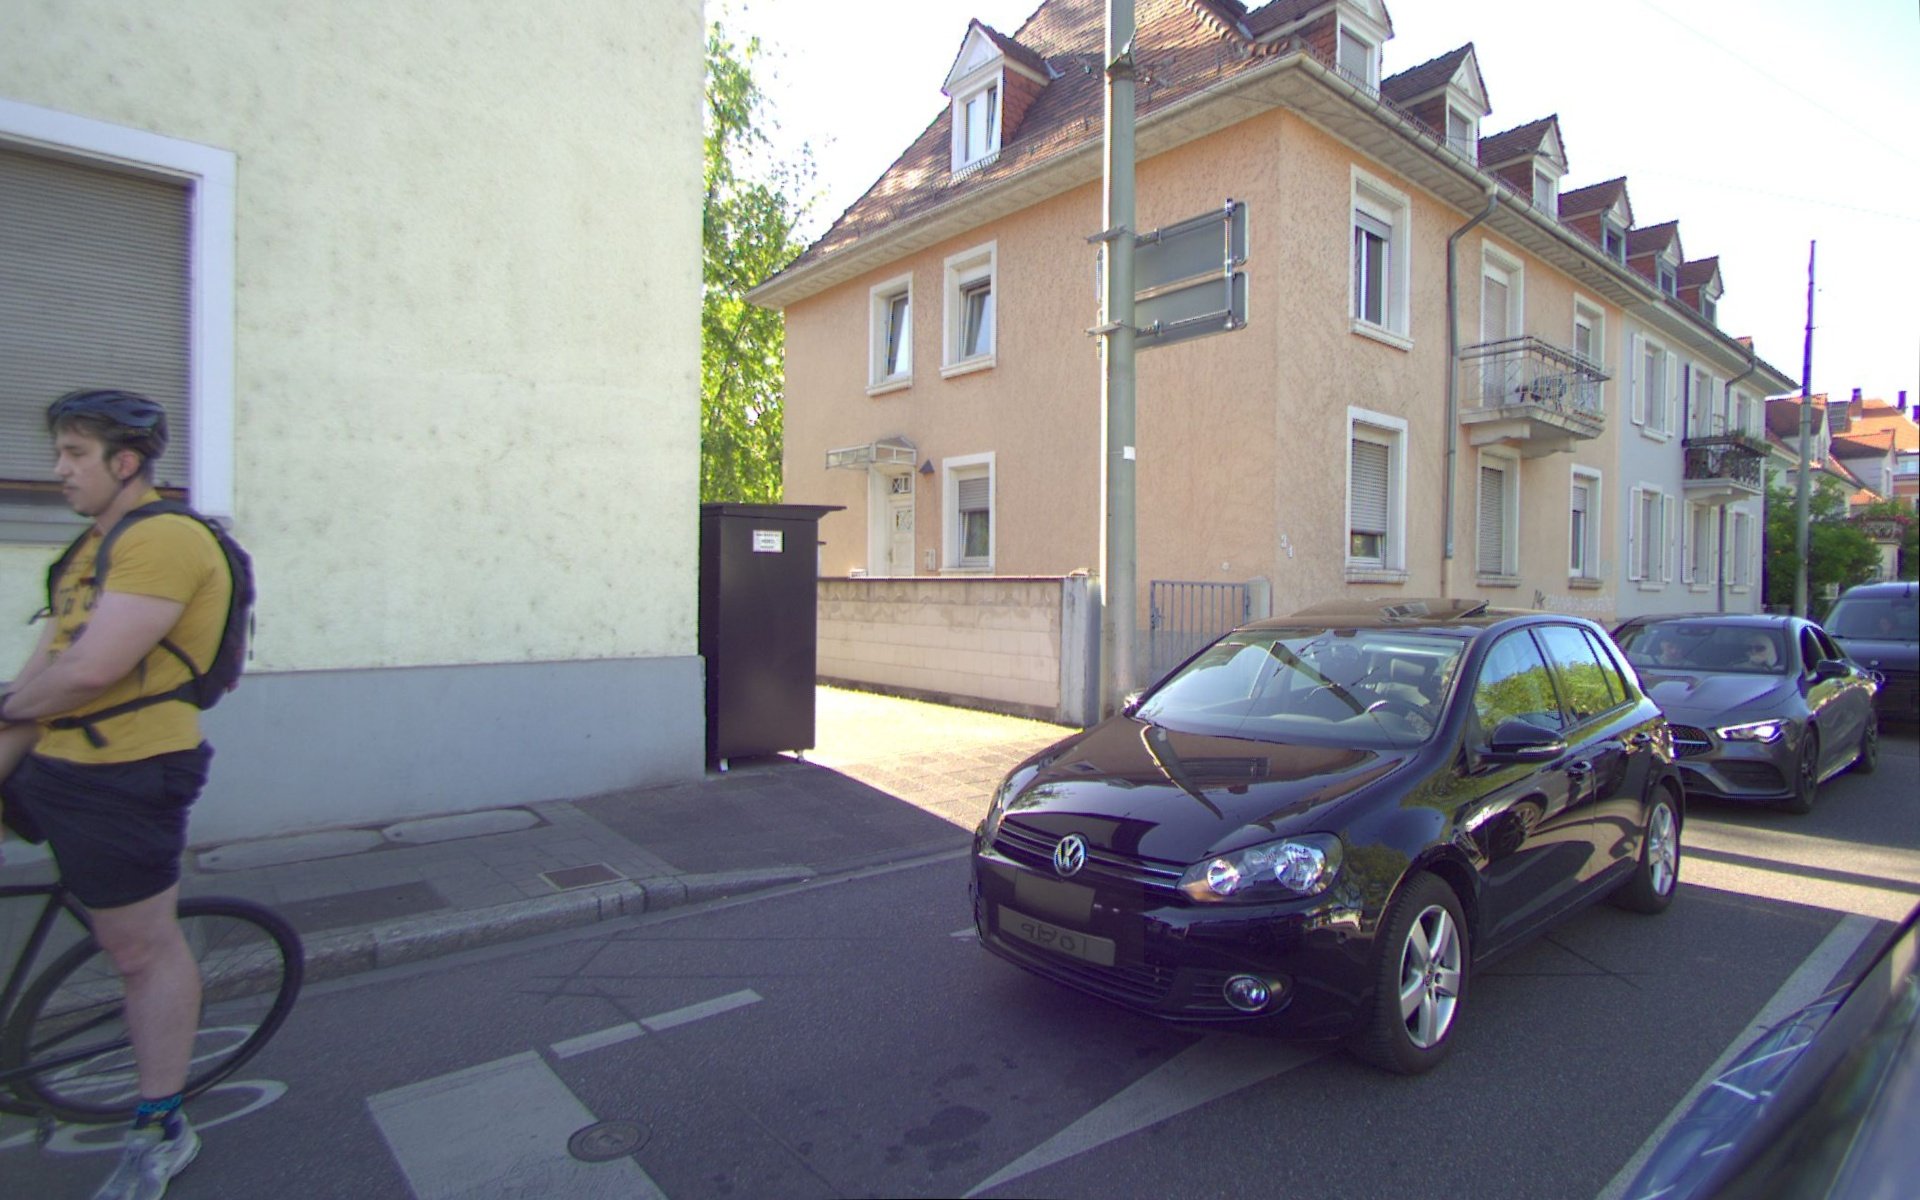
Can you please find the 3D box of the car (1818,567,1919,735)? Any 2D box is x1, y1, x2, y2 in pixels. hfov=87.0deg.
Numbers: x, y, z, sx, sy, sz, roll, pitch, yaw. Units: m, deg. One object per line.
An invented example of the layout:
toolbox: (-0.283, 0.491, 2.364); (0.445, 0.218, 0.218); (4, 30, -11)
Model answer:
car: (12.210, 0.528, 12.425); (4.695, 1.827, 1.864); (-1, 0, -41)

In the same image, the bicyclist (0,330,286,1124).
bicyclist: (-2.238, 0.266, 2.504); (0.868, 1.684, 0.807); (0, 0, -40)

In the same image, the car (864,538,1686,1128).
car: (1.701, 0.646, 4.600); (3.979, 1.527, 1.731); (2, -1, -41)

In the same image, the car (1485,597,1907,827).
car: (6.441, 0.714, 8.664); (4.413, 1.437, 1.911); (-1, 0, -40)

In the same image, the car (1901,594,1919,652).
car: (26.590, 0.595, 26.933); (3.930, 1.476, 1.839); (-1, 0, -41)

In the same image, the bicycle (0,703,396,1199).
bicycle: (-2.384, 0.861, 2.377); (1.749, 1.044, 0.756); (-1, 0, -40)
